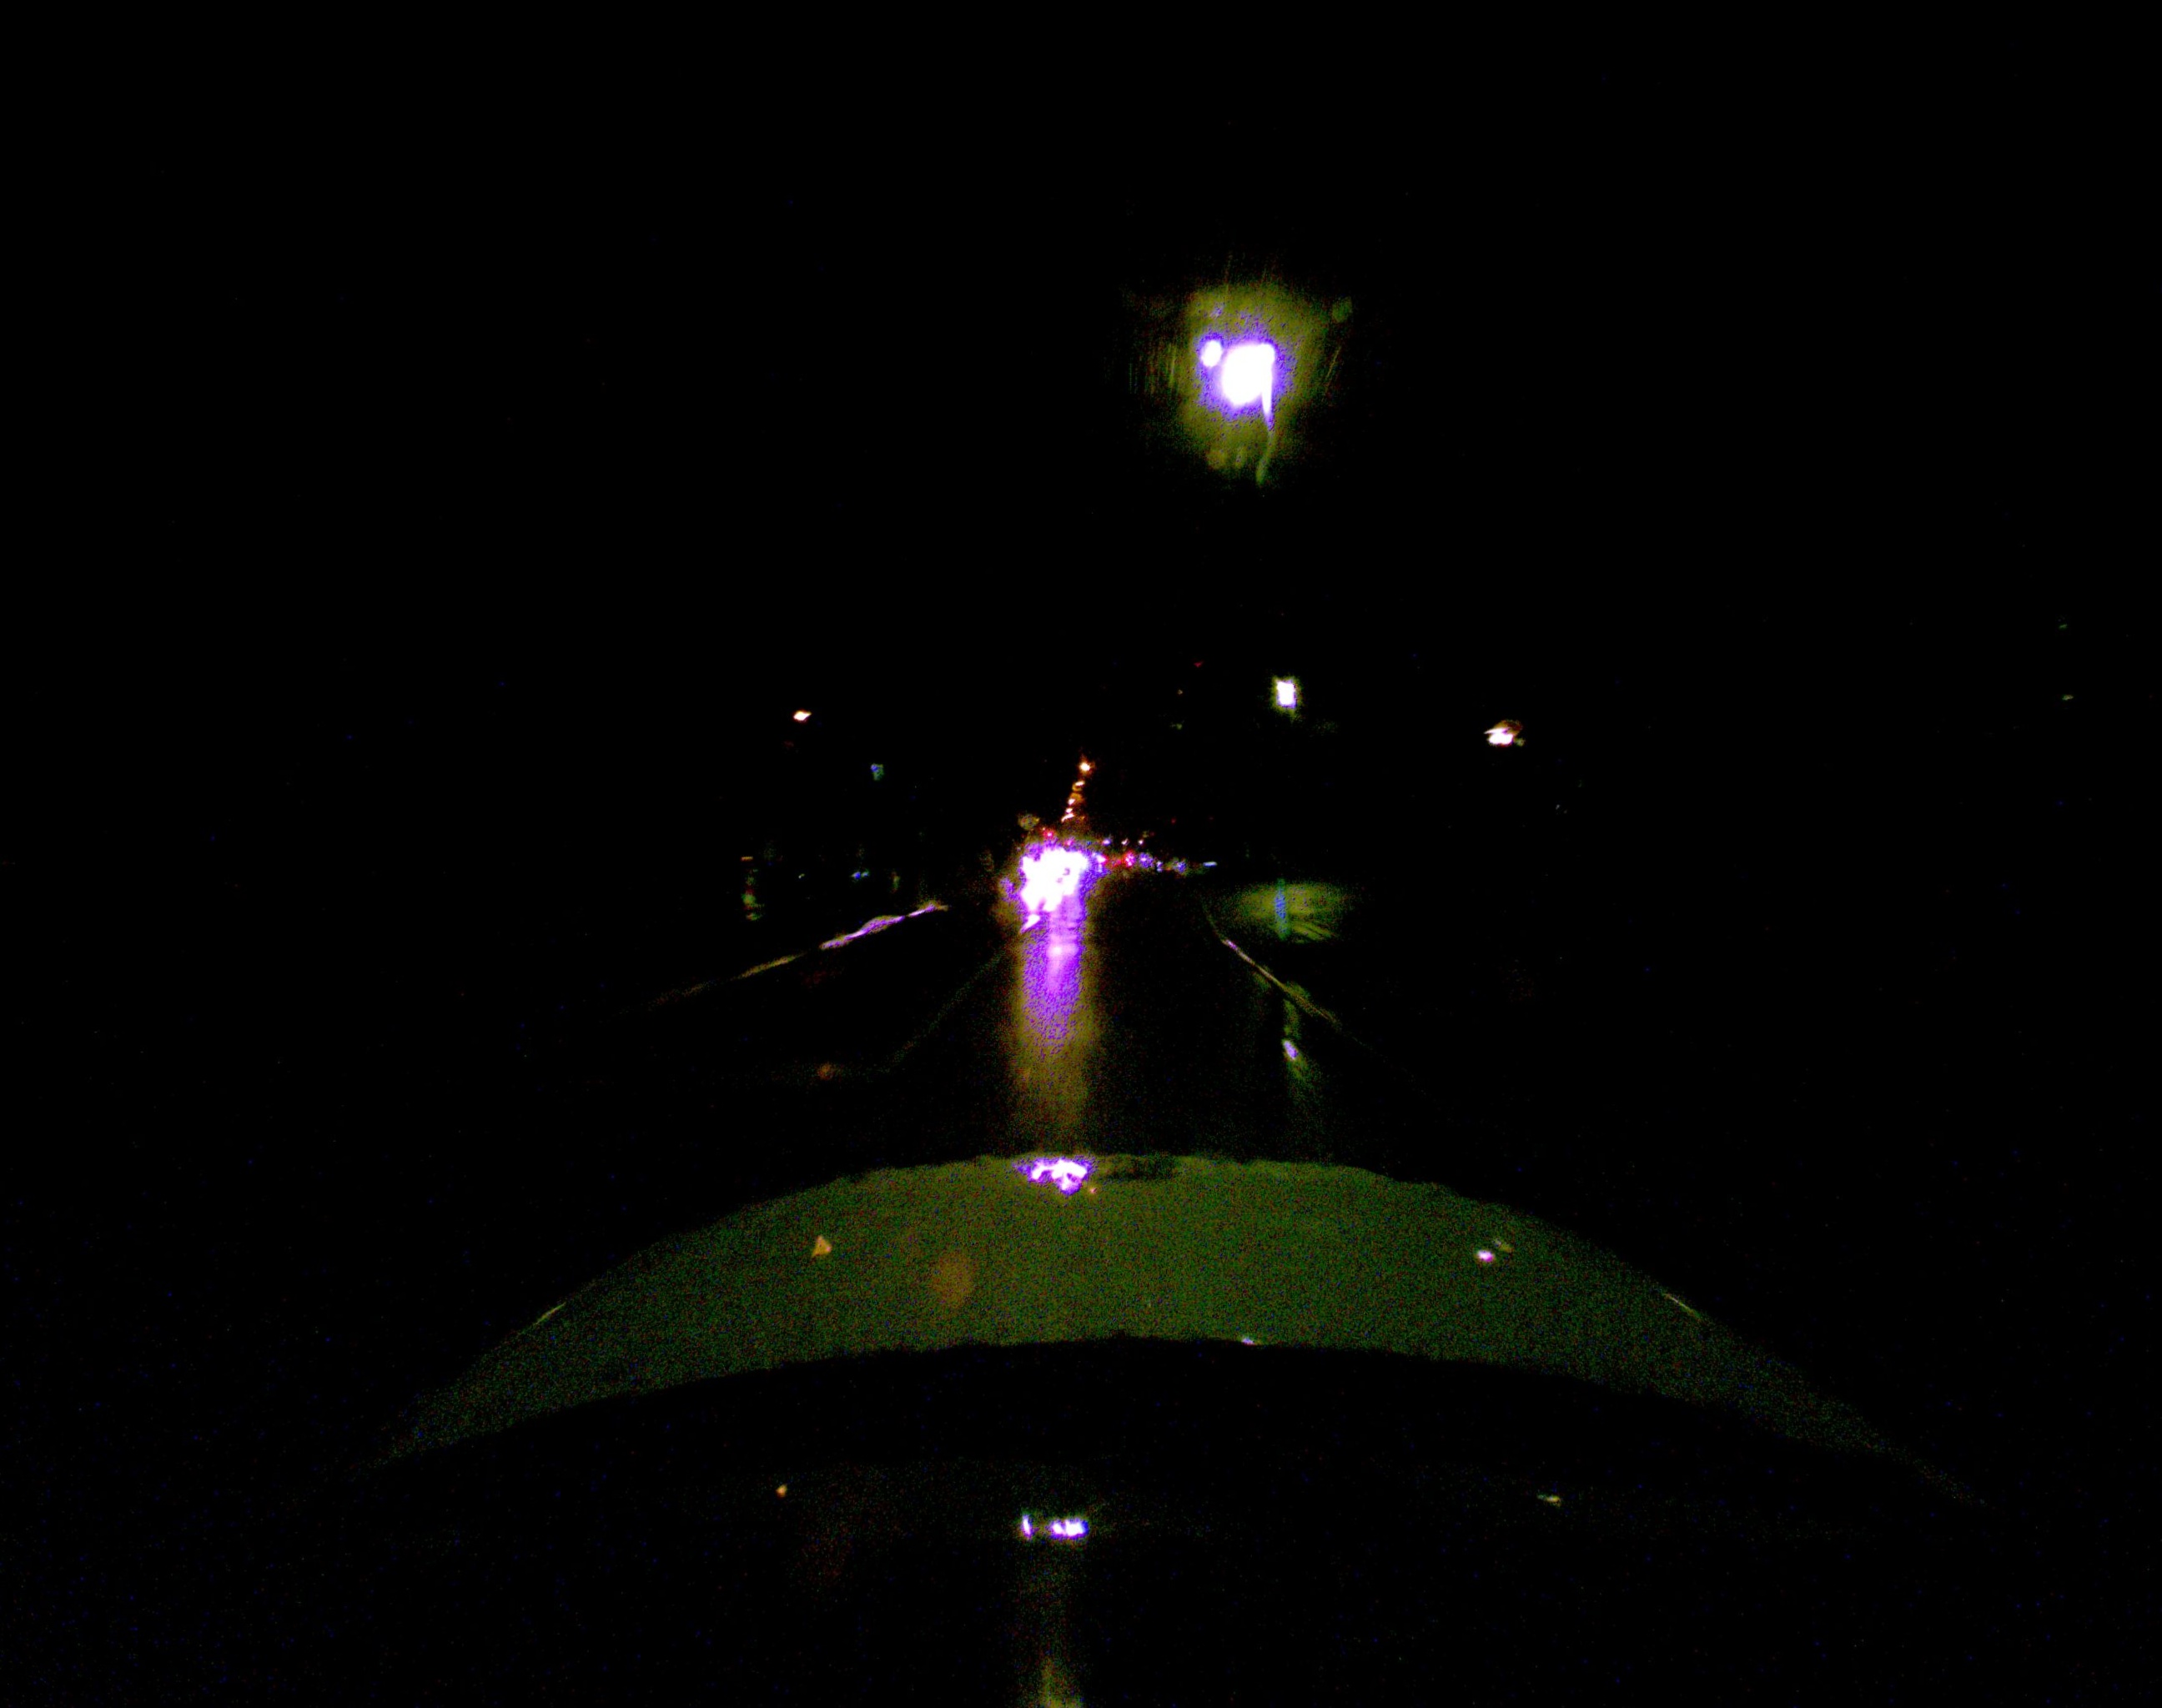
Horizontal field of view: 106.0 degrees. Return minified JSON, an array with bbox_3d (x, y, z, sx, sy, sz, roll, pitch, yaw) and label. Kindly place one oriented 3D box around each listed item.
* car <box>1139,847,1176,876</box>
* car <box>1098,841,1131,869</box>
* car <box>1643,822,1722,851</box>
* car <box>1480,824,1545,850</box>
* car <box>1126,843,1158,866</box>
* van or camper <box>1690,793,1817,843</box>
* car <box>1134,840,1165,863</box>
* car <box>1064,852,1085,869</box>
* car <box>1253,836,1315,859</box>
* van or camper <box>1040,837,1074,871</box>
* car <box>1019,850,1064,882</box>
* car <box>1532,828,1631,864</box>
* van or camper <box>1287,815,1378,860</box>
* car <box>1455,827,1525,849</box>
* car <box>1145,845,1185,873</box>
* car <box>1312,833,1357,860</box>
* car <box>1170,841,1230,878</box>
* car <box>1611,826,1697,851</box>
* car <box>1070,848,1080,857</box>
[{"bbox_3d":[4.972,0.449,53.331,1.709,1.707,4.183,-4,1,-3],"label":"car"},{"bbox_3d":[2.211,0.057,54.514,1.987,1.683,4.001,-2,2,0],"label":"car"},{"bbox_3d":[40.286,-1.184,54.594,3.972,1.780,1.707,-2,0,1],"label":"car"},{"bbox_3d":[24.817,-0.963,46.999,1.672,1.413,4.263,-2,0,3],"label":"car"},{"bbox_3d":[4.813,0.006,64.486,1.876,1.572,4.524,-4,1,-3],"label":"car"},{"bbox_3d":[39.038,-2.073,47.400,5.359,2.553,2.382,-2,0,0],"label":"van or camper"},{"bbox_3d":[4.952,-0.197,59.271,1.749,1.528,4.150,-4,1,-2],"label":"car"},{"bbox_3d":[-0.568,0.523,71.640,1.790,1.461,4.577,0,0,0],"label":"car"},{"bbox_3d":[14.610,-0.465,58.720,3.976,1.521,1.684,-2,0,-2],"label":"car"},{"bbox_3d":[-1.550,-0.002,53.592,1.863,2.103,4.944,-2,0,2],"label":"van or camper"},{"bbox_3d":[-1.893,0.552,40.242,1.738,1.433,4.003,-3,0,3],"label":"car"},{"bbox_3d":[21.908,-0.342,35.866,1.819,1.468,4.261,0,0,2],"label":"car"},{"bbox_3d":[15.717,-1.018,51.151,5.042,2.527,2.173,-2,0,2],"label":"van or camper"},{"bbox_3d":[28.138,-1.100,56.066,3.976,1.353,1.680,-2,1,-2],"label":"car"},{"bbox_3d":[4.852,0.277,47.372,1.708,1.488,4.434,-3,0,-1],"label":"car"},{"bbox_3d":[14.711,-0.440,47.348,1.557,1.469,3.409,-2,1,1],"label":"car"},{"bbox_3d":[5.226,0.215,36.245,1.785,1.449,4.788,-4,1,-2],"label":"car"},{"bbox_3d":[40.417,-1.086,57.526,4.571,1.588,1.996,-2,0,1],"label":"car"},{"bbox_3d":[-1.259,-0.315,161.658,1.808,1.709,3.801,-4,1,-2],"label":"car"}]
